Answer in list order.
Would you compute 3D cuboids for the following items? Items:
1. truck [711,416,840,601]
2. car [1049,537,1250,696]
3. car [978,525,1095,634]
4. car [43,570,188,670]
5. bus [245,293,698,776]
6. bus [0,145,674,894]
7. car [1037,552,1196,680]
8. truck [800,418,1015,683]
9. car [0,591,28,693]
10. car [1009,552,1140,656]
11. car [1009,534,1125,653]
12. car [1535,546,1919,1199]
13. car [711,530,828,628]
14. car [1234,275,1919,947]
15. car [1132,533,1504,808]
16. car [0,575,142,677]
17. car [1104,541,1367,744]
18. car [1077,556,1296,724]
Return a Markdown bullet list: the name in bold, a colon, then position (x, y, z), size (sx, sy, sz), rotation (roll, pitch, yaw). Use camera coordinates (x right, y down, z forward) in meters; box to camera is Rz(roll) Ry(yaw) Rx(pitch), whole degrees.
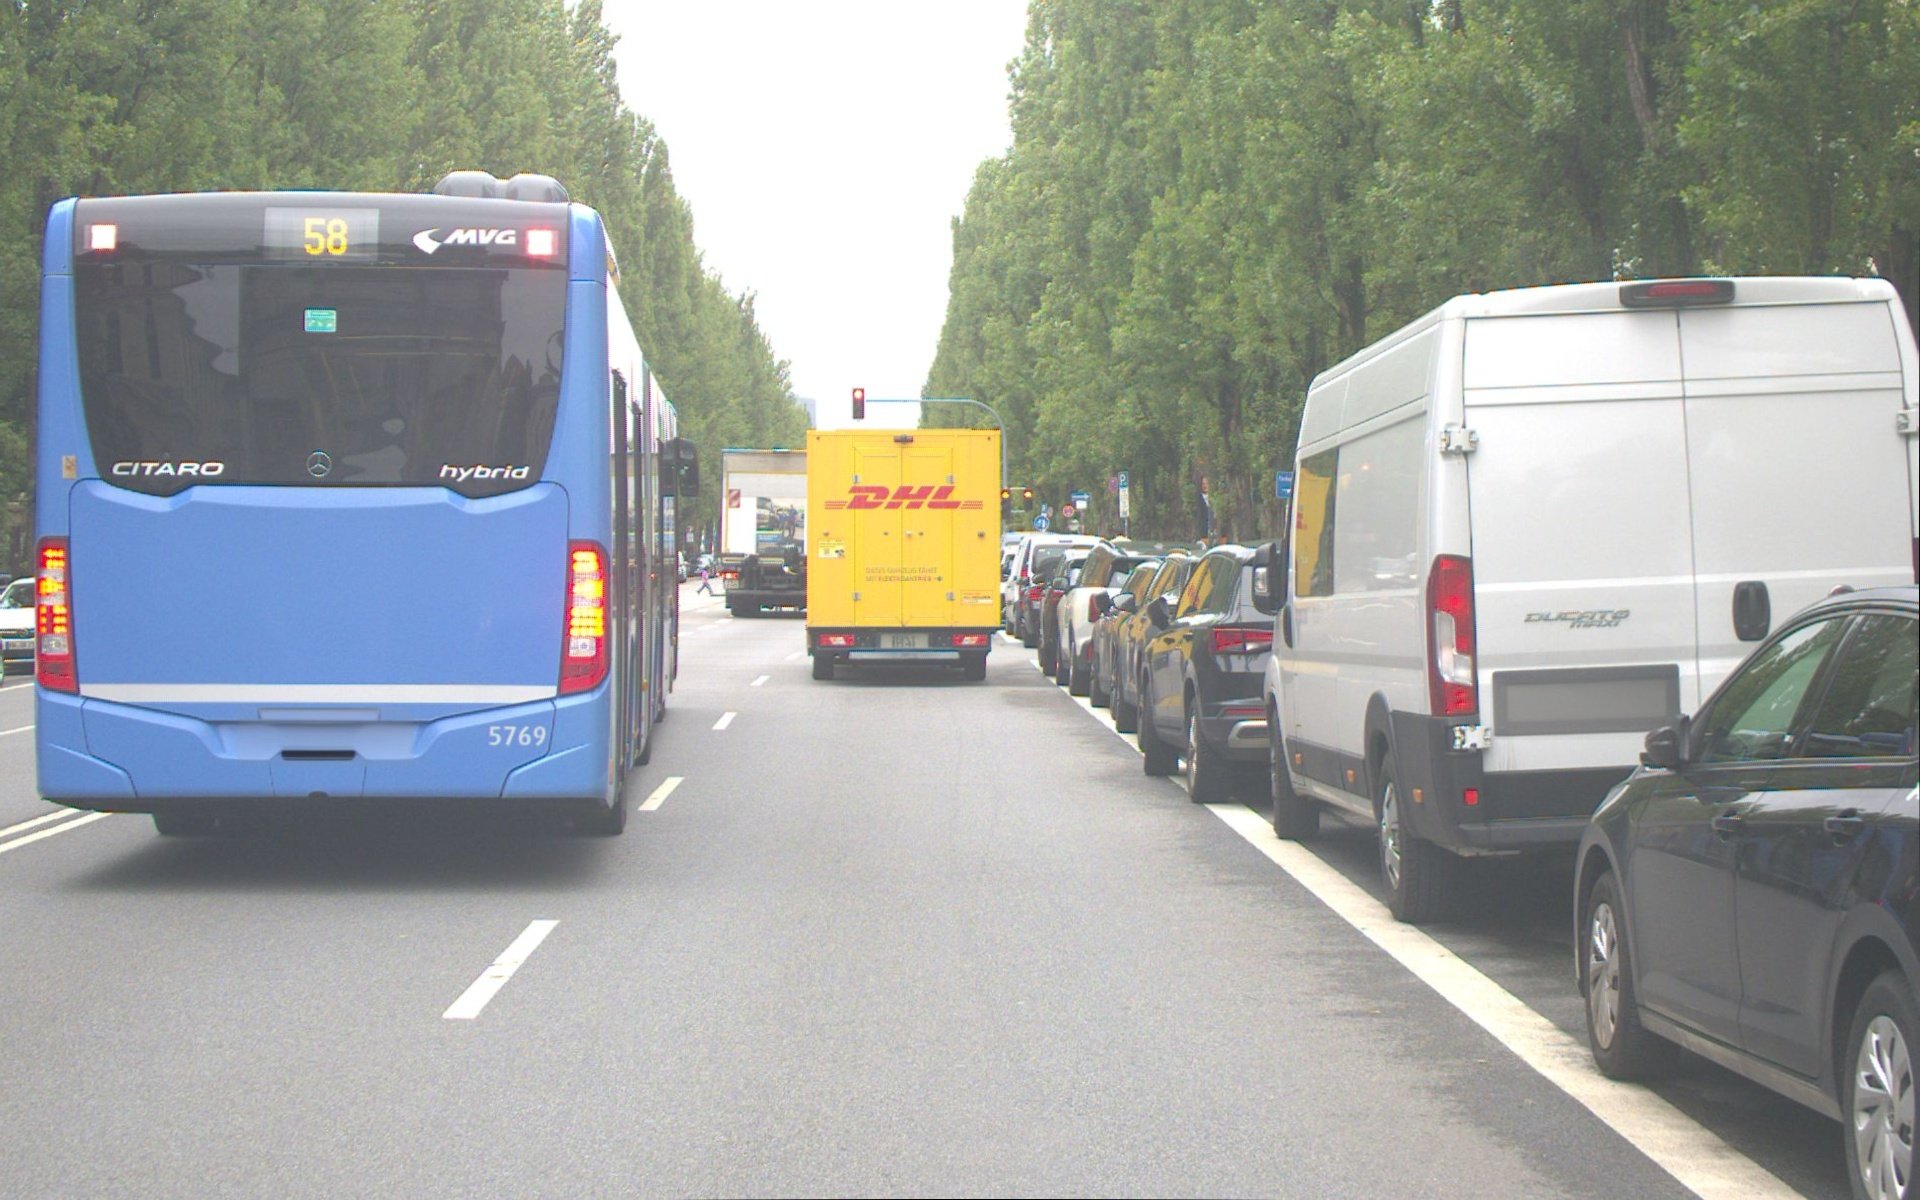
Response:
- **truck**: position (-4.251, -2.035, 78.833), size (2.715, 3.952, 9.219), rotation (-1, 1, -3)
- **car**: position (1.972, 0.141, 36.865), size (1.780, 1.576, 4.147), rotation (1, 1, -2)
- **car**: position (1.456, -0.440, 67.536), size (2.052, 2.007, 5.693), rotation (-1, 1, -1)
- **car**: position (-13.835, 0.300, 56.502), size (1.742, 1.513, 4.119), rotation (-3, 1, -7)
- **bus**: position (-3.727, -0.523, 28.555), size (2.871, 3.292, 9.791), rotation (-1, 1, -3)
- **bus**: position (-3.133, -0.420, 19.295), size (2.855, 3.202, 9.061), rotation (0, 1, -4)
- **car**: position (1.885, 0.160, 42.584), size (1.725, 1.490, 4.324), rotation (-1, 1, 0)
- **truck**: position (-0.690, -0.593, 41.479), size (2.327, 2.888, 7.333), rotation (-1, 1, -2)
- **car**: position (-13.140, 0.596, 43.498), size (1.580, 1.300, 4.029), rotation (-3, 1, 0)
- **car**: position (1.749, 0.031, 53.704), size (1.863, 1.546, 4.000), rotation (-1, 1, 0)
- **car**: position (1.809, -0.139, 59.218), size (1.806, 1.969, 4.237), rotation (0, 1, -1)
- **car**: position (2.715, 0.610, 8.558), size (1.754, 1.445, 4.000), rotation (1, 1, -2)
- **car**: position (-3.652, -0.432, 66.449), size (2.035, 1.795, 4.507), rotation (-1, 1, -1)
- **car**: position (2.631, -0.004, 15.799), size (2.074, 2.470, 6.284), rotation (0, 1, -2)
- **car**: position (2.175, 0.380, 21.968), size (1.820, 1.585, 4.223), rotation (0, 1, -2)
- **car**: position (-13.640, 0.375, 51.936), size (1.685, 1.408, 4.005), rotation (-3, 1, -2)
- **car**: position (2.128, 0.292, 27.542), size (1.651, 1.498, 4.114), rotation (0, 1, -2)
- **car**: position (2.068, 0.325, 32.339), size (1.633, 1.441, 4.149), rotation (1, 1, -2)
